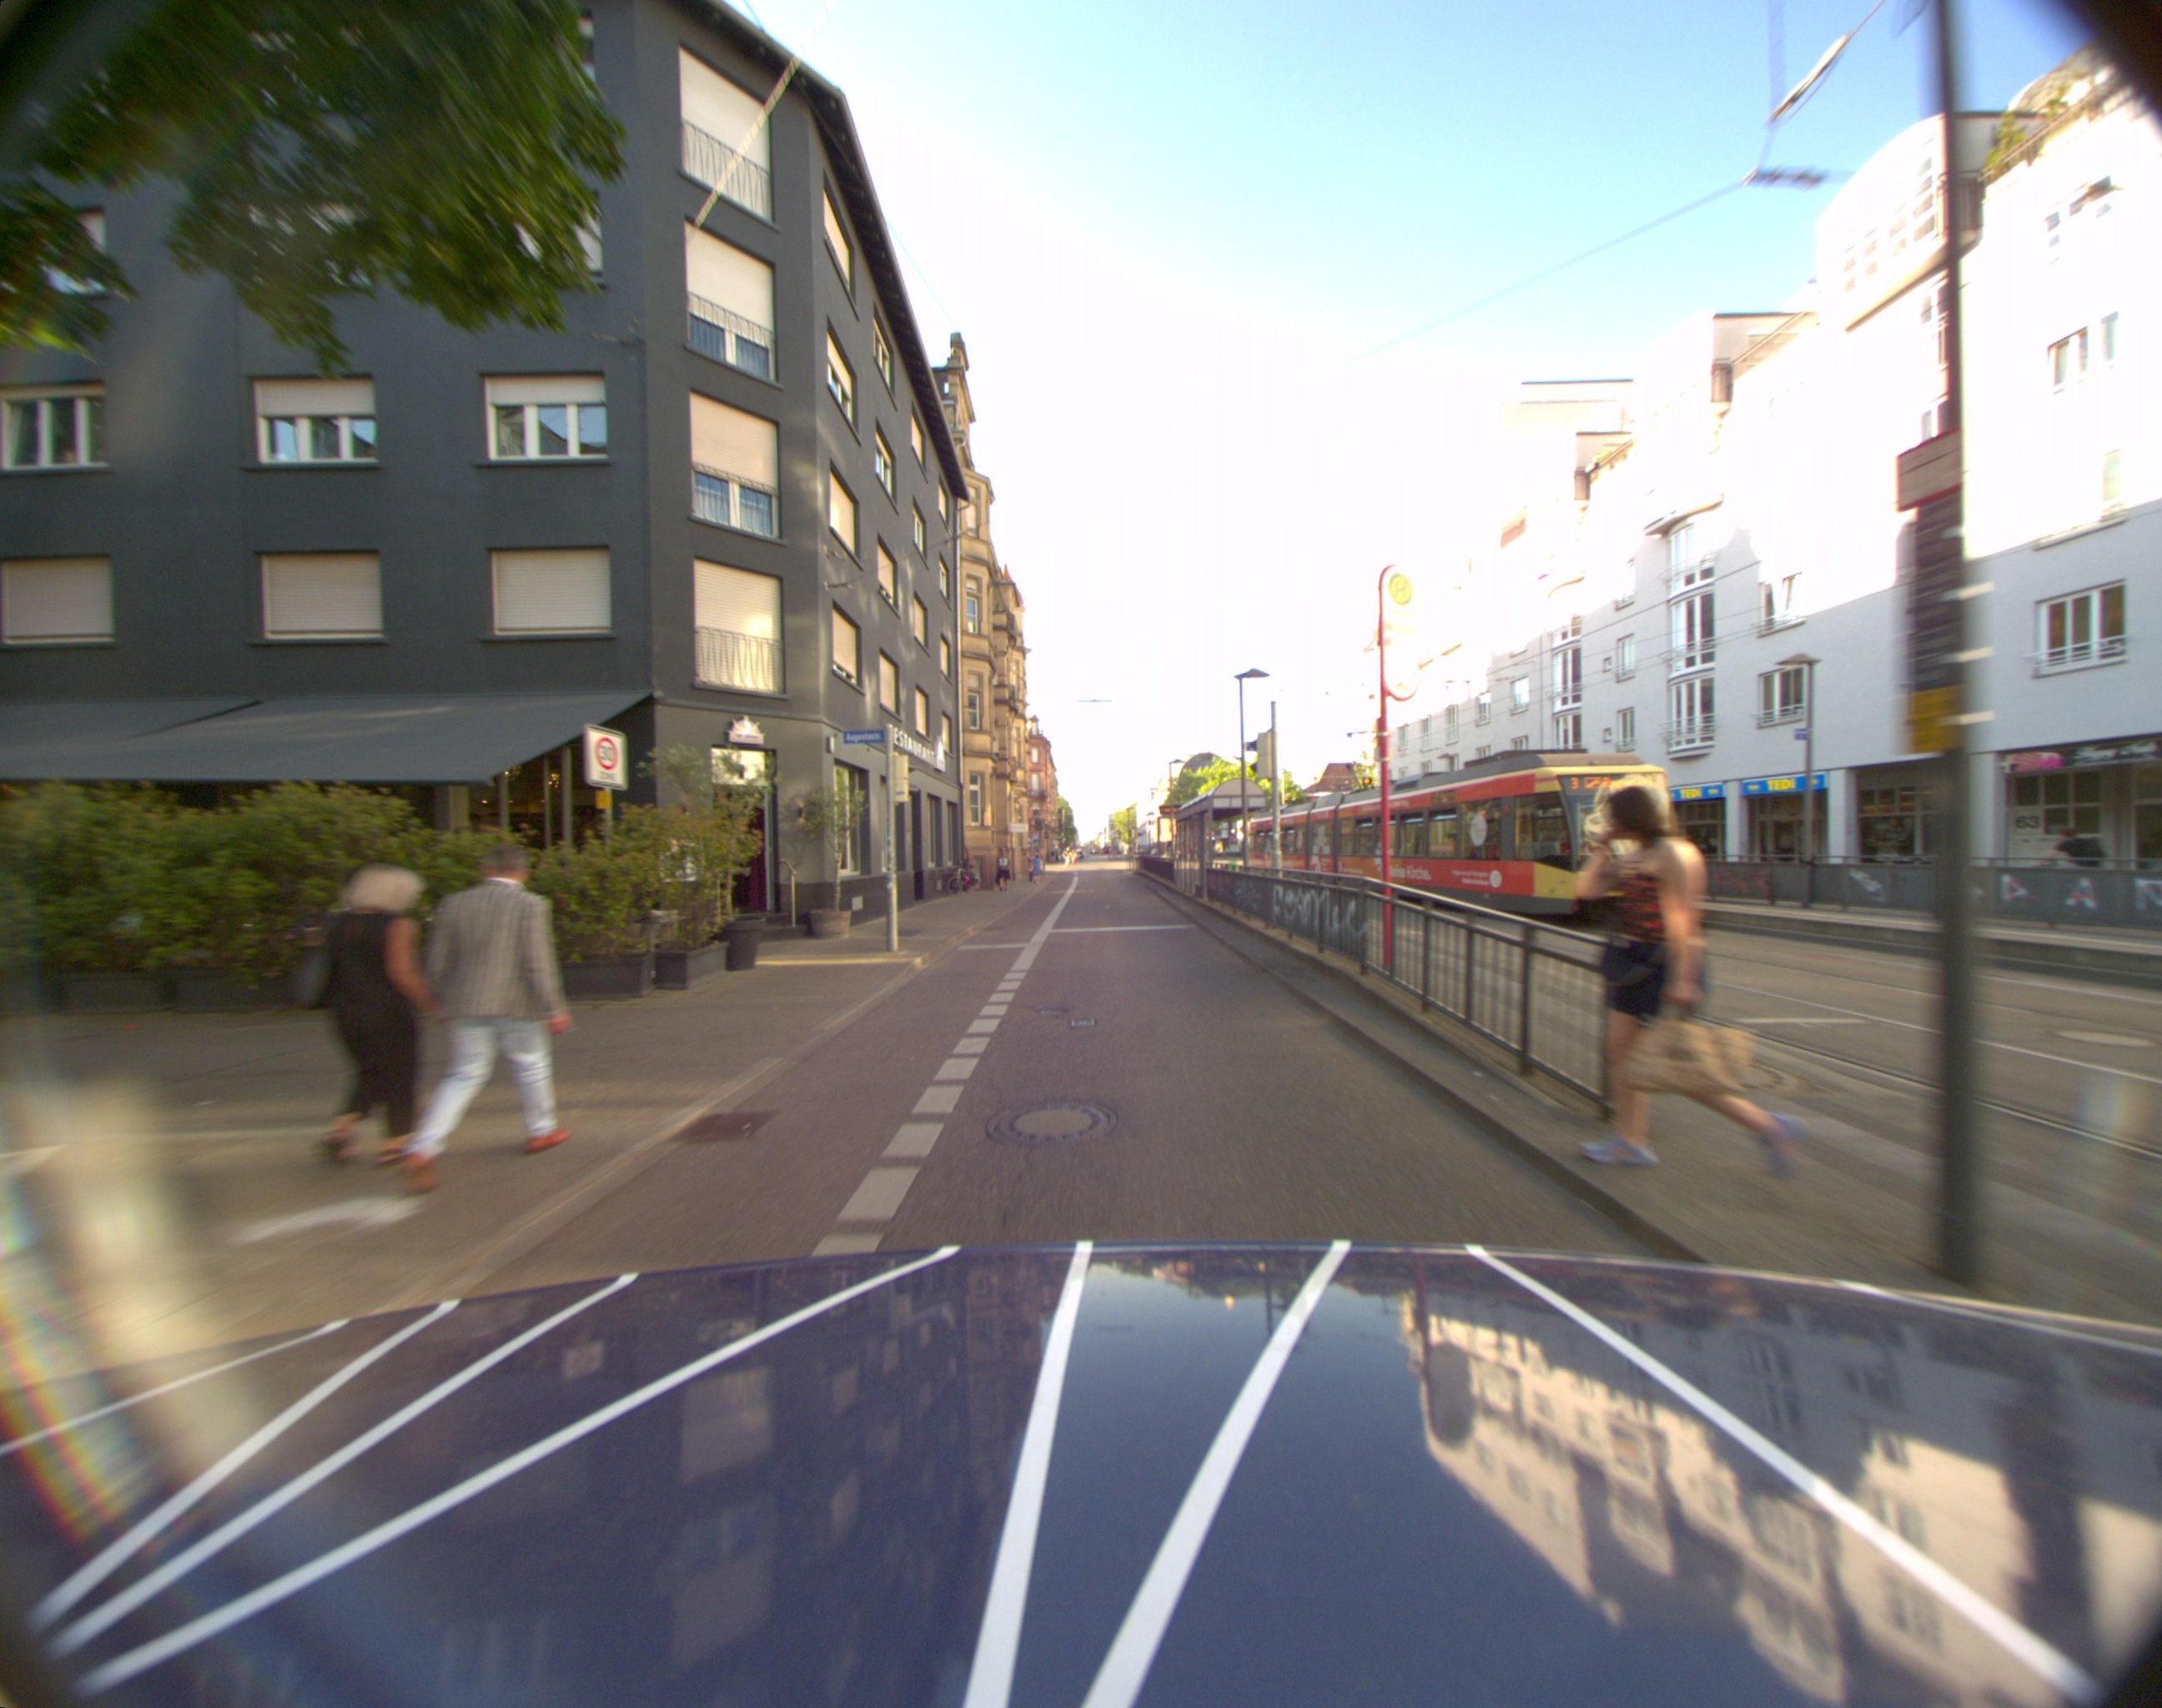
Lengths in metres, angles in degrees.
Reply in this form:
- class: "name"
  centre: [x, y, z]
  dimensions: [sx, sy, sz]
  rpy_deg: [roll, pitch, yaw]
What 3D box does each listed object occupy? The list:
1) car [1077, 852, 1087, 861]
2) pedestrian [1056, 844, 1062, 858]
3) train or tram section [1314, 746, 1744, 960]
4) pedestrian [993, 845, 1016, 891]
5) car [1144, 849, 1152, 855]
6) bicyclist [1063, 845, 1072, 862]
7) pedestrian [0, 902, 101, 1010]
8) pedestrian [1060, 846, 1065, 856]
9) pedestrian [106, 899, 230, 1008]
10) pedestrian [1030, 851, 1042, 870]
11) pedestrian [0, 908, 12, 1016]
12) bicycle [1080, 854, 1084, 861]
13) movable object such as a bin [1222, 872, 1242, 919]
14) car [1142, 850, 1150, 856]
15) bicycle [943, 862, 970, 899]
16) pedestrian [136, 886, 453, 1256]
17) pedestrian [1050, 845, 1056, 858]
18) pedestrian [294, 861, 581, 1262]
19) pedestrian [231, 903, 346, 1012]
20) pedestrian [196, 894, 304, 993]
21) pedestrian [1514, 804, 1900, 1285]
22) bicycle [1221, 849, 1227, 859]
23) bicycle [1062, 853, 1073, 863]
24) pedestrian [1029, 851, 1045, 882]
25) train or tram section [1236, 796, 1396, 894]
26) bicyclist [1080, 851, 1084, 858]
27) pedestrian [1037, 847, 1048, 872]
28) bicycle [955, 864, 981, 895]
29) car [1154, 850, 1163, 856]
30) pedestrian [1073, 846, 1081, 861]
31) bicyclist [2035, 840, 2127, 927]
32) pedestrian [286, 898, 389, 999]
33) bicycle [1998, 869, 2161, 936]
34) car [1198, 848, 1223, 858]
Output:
- class: "car"
  centre: [0.147, 0.400, 145.066]
  dimensions: [1.670, 1.674, 4.000]
  rpy_deg: [-1, 1, 4]
- class: "pedestrian"
  centre: [-2.911, -0.409, 101.403]
  dimensions: [0.824, 1.883, 0.754]
  rpy_deg: [0, 1, 1]
- class: "train or tram section"
  centre: [9.767, -0.148, 20.139]
  dimensions: [2.892, 3.470, 14.948]
  rpy_deg: [-2, 1, 2]
- class: "pedestrian"
  centre: [-3.104, 0.555, 30.855]
  dimensions: [0.803, 1.813, 0.797]
  rpy_deg: [1, 1, 0]
- class: "car"
  centre: [19.636, -0.682, 223.332]
  dimensions: [1.965, 1.594, 3.999]
  rpy_deg: [-2, 1, -2]
- class: "bicyclist"
  centre: [-1.346, -0.051, 76.035]
  dimensions: [0.885, 1.651, 0.803]
  rpy_deg: [-1, 1, 3]
- class: "pedestrian"
  centre: [-13.061, 1.251, 9.496]
  dimensions: [0.748, 1.254, 0.650]
  rpy_deg: [-1, 1, 1]
- class: "pedestrian"
  centre: [-3.128, -0.550, 127.109]
  dimensions: [0.700, 1.713, 0.681]
  rpy_deg: [1, 1, 2]
- class: "pedestrian"
  centre: [-10.732, 1.154, 8.952]
  dimensions: [0.649, 1.197, 0.650]
  rpy_deg: [-1, 1, 1]
- class: "pedestrian"
  centre: [-3.195, 0.461, 54.129]
  dimensions: [0.796, 1.324, 0.719]
  rpy_deg: [0, 2, -1]
- class: "pedestrian"
  centre: [-12.945, 1.264, 8.594]
  dimensions: [0.748, 1.254, 0.650]
  rpy_deg: [-1, 1, 1]
- class: "bicycle"
  centre: [0.203, 0.598, 133.786]
  dimensions: [0.646, 1.176, 1.804]
  rpy_deg: [-1, 1, -2]
- class: "movable object such as a bin"
  centre: [3.135, 0.849, 15.756]
  dimensions: [0.353, 0.939, 0.530]
  rpy_deg: [-1, 1, 6]
- class: "car"
  centre: [19.553, -0.285, 229.842]
  dimensions: [1.965, 1.594, 3.999]
  rpy_deg: [-2, 1, -2]
- class: "bicycle"
  centre: [-4.292, 0.887, 26.317]
  dimensions: [0.625, 1.191, 1.907]
  rpy_deg: [2, 0, -1]
- class: "pedestrian"
  centre: [-3.779, 0.976, 3.732]
  dimensions: [0.715, 1.593, 0.773]
  rpy_deg: [2, 0, -2]
- class: "pedestrian"
  centre: [-3.774, -0.313, 101.828]
  dimensions: [0.777, 1.713, 0.754]
  rpy_deg: [0, 1, 1]
- class: "pedestrian"
  centre: [-3.101, 0.927, 3.750]
  dimensions: [0.715, 1.764, 0.773]
  rpy_deg: [2, 0, -2]
- class: "pedestrian"
  centre: [-9.339, 1.198, 8.975]
  dimensions: [0.649, 1.197, 0.650]
  rpy_deg: [-1, 1, 1]
- class: "pedestrian"
  centre: [-10.725, 1.136, 9.830]
  dimensions: [0.649, 1.197, 0.650]
  rpy_deg: [-1, 1, 1]
- class: "pedestrian"
  centre: [2.510, 0.695, 3.163]
  dimensions: [0.871, 1.704, 0.787]
  rpy_deg: [-3, 0, -2]
- class: "bicycle"
  centre: [19.558, -0.006, 104.032]
  dimensions: [0.582, 1.227, 1.857]
  rpy_deg: [-2, 1, 6]
- class: "bicycle"
  centre: [-1.341, 0.425, 76.035]
  dimensions: [0.885, 0.949, 1.766]
  rpy_deg: [-1, 1, 4]
- class: "pedestrian"
  centre: [-2.335, 0.654, 40.608]
  dimensions: [0.764, 1.636, 0.832]
  rpy_deg: [1, 0, 0]
- class: "train or tram section"
  centre: [10.001, -0.455, 34.735]
  dimensions: [2.892, 3.470, 14.164]
  rpy_deg: [-2, 1, 0]
- class: "bicyclist"
  centre: [0.255, 0.112, 133.813]
  dimensions: [0.646, 1.176, 0.722]
  rpy_deg: [-1, 1, -2]
- class: "pedestrian"
  centre: [-2.698, 0.371, 53.363]
  dimensions: [0.796, 1.712, 0.719]
  rpy_deg: [0, 2, -1]
- class: "bicycle"
  centre: [-4.172, 0.927, 28.206]
  dimensions: [0.592, 1.064, 1.804]
  rpy_deg: [2, 0, 3]
- class: "car"
  centre: [19.969, -0.273, 196.260]
  dimensions: [1.910, 1.594, 3.999]
  rpy_deg: [-2, 1, -2]
- class: "pedestrian"
  centre: [-0.459, -0.082, 85.884]
  dimensions: [0.849, 1.652, 0.850]
  rpy_deg: [-1, 1, 4]
- class: "bicyclist"
  centre: [18.428, 0.528, 14.022]
  dimensions: [0.731, 1.559, 0.719]
  rpy_deg: [-1, 1, 1]
- class: "pedestrian"
  centre: [-9.451, 1.189, 9.682]
  dimensions: [0.649, 1.197, 0.650]
  rpy_deg: [-1, 1, 1]
- class: "bicycle"
  centre: [18.427, 0.857, 14.065]
  dimensions: [0.731, 1.101, 1.800]
  rpy_deg: [-1, 1, 1]
- class: "car"
  centre: [21.946, -0.104, 128.537]
  dimensions: [4.006, 1.545, 1.793]
  rpy_deg: [-3, 1, -31]
